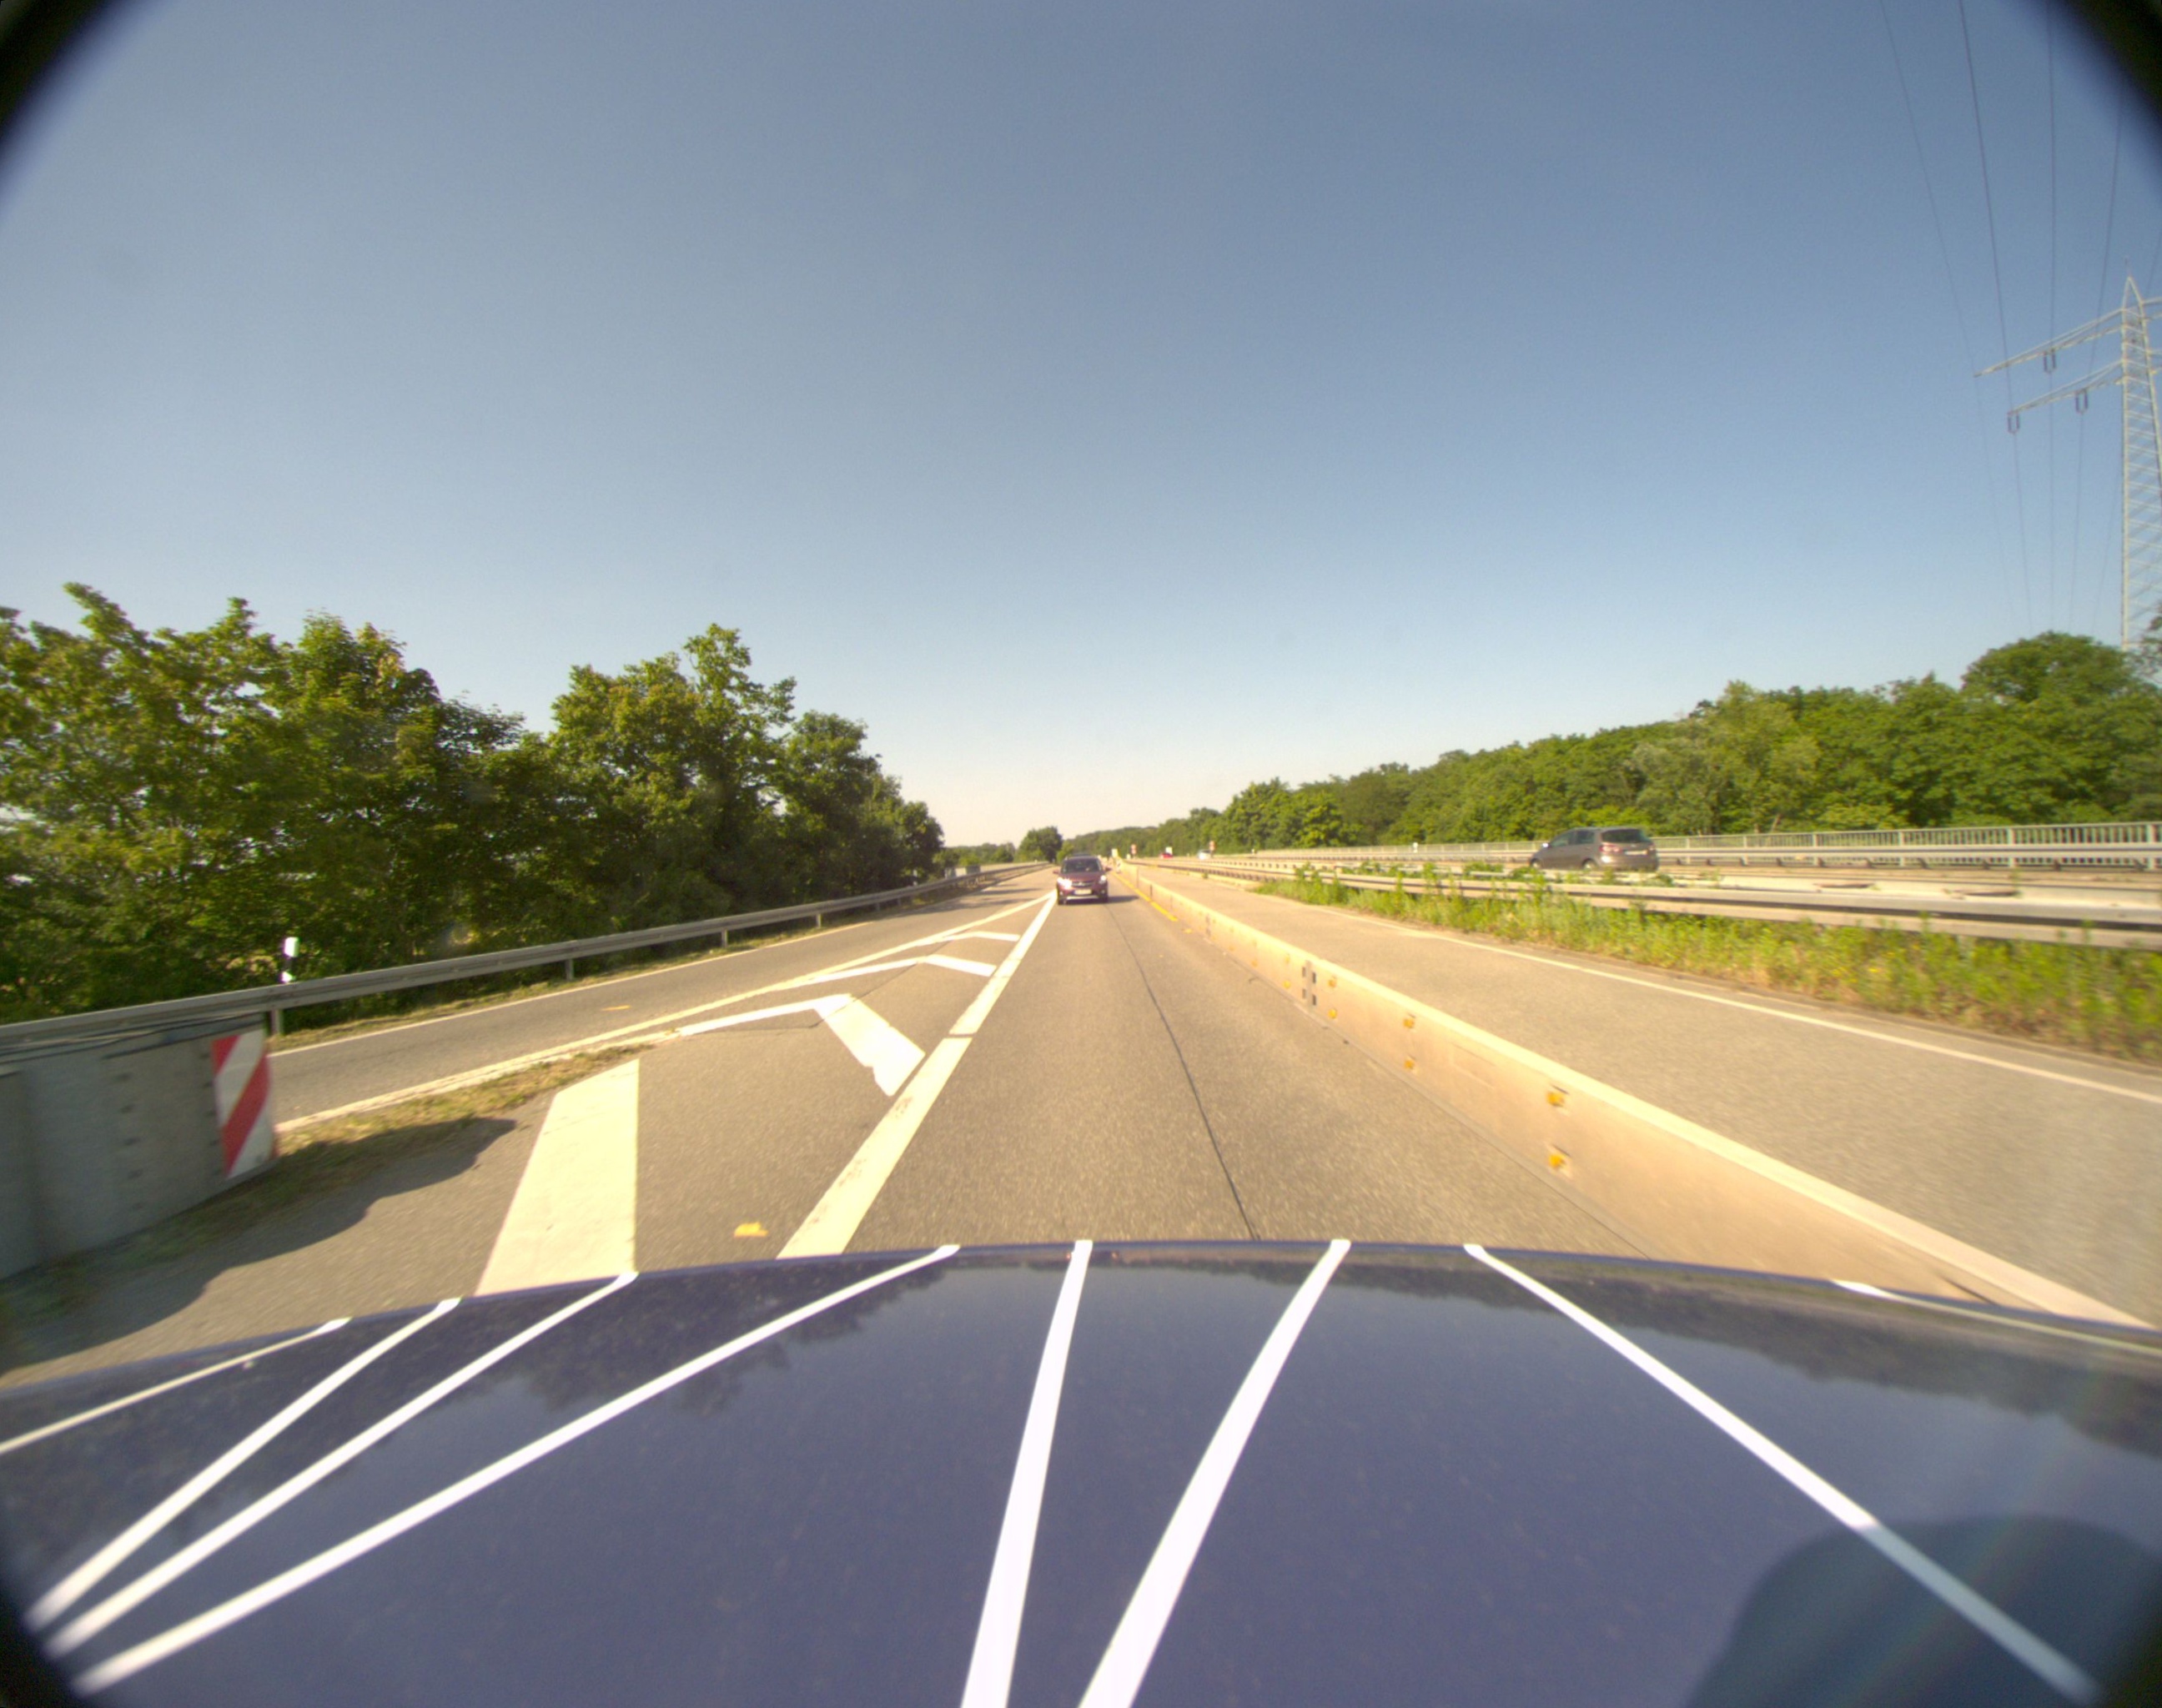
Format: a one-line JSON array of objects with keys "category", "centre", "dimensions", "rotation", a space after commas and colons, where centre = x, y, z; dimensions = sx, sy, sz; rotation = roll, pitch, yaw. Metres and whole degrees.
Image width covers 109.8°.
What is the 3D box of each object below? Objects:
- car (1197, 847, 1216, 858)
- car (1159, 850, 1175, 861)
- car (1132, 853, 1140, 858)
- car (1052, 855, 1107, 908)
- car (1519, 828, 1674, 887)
[{"category": "car", "centre": [16.121, -0.235, 97.957], "dimensions": [1.781, 1.385, 4.125], "rotation": [-1, 0, 0]}, {"category": "car", "centre": [12.043, 0.172, 106.230], "dimensions": [1.718, 1.388, 4.221], "rotation": [-2, 0, 0]}, {"category": "car", "centre": [16.037, 0.567, 221.348], "dimensions": [1.744, 1.331, 4.551], "rotation": [-4, 0, 0]}, {"category": "car", "centre": [0.033, 0.838, 25.121], "dimensions": [1.587, 1.491, 4.415], "rotation": [-2, 1, 2]}, {"category": "car", "centre": [15.457, 0.082, 23.117], "dimensions": [1.767, 1.574, 4.422], "rotation": [-1, 0, 1]}]
